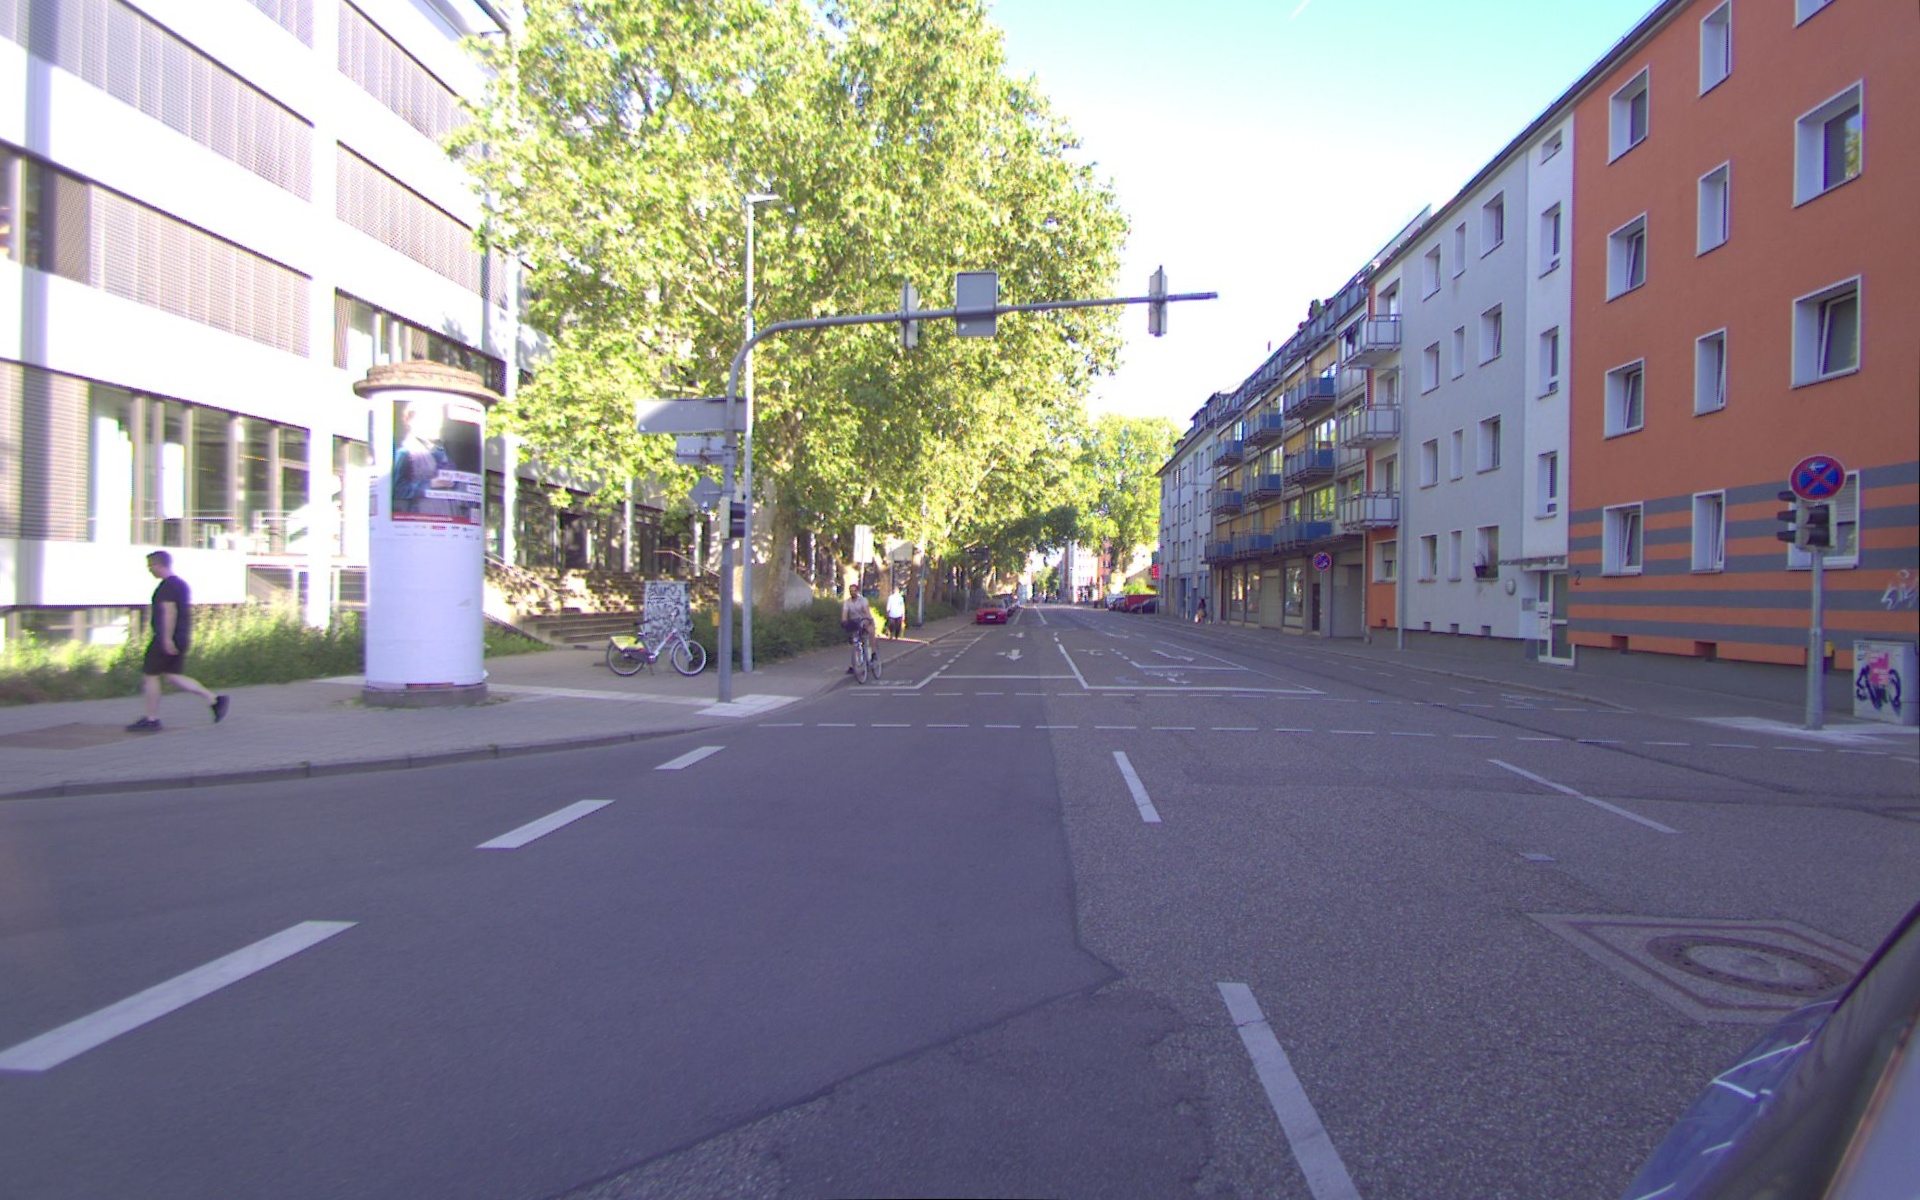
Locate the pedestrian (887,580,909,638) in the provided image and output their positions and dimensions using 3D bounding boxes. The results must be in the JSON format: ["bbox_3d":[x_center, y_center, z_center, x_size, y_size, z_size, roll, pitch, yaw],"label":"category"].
[{"bbox_3d":[-1.985,0.275,32.455,0.658,1.818,0.666,-2,1,-2],"label":"pedestrian"}]

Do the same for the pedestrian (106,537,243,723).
[{"bbox_3d":[-7.918,0.291,10.243,0.975,1.794,0.606,1,0,-27],"label":"pedestrian"}]

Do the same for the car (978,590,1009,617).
[{"bbox_3d":[2.030,0.194,60.345,1.755,1.548,4.654,1,0,3],"label":"car"}]

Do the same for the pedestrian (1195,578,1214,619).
[{"bbox_3d":[14.964,-0.095,62.043,0.898,2.426,1.087,1,0,4],"label":"pedestrian"}]

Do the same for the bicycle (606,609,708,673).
[{"bbox_3d":[-5.219,0.709,17.439,1.601,1.011,0.624,2,2,-21],"label":"bicycle"}]

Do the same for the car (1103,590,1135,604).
[{"bbox_3d":[20.525,-0.376,130.871,3.930,1.720,1.830,1,0,6],"label":"car"}]

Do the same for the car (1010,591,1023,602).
[{"bbox_3d":[8.302,-0.581,147.973,1.755,1.548,4.652,1,0,4],"label":"car"}]

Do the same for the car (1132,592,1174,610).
[{"bbox_3d":[19.104,0.057,100.325,3.930,1.720,1.830,1,0,6],"label":"car"}]

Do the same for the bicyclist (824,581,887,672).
[{"bbox_3d":[-1.951,0.469,19.063,0.935,1.661,1.004,0,0,12],"label":"bicyclist"}]

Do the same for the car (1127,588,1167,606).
[{"bbox_3d":[19.504,-0.312,105.640,3.930,1.720,1.830,1,0,6],"label":"car"}]

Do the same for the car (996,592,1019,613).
[{"bbox_3d":[3.810,0.169,80.436,1.755,1.548,4.652,1,0,4],"label":"car"}]

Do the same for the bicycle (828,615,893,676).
[{"bbox_3d":[-1.866,0.841,19.253,0.693,1.080,1.921,1,-1,11],"label":"bicycle"}]
